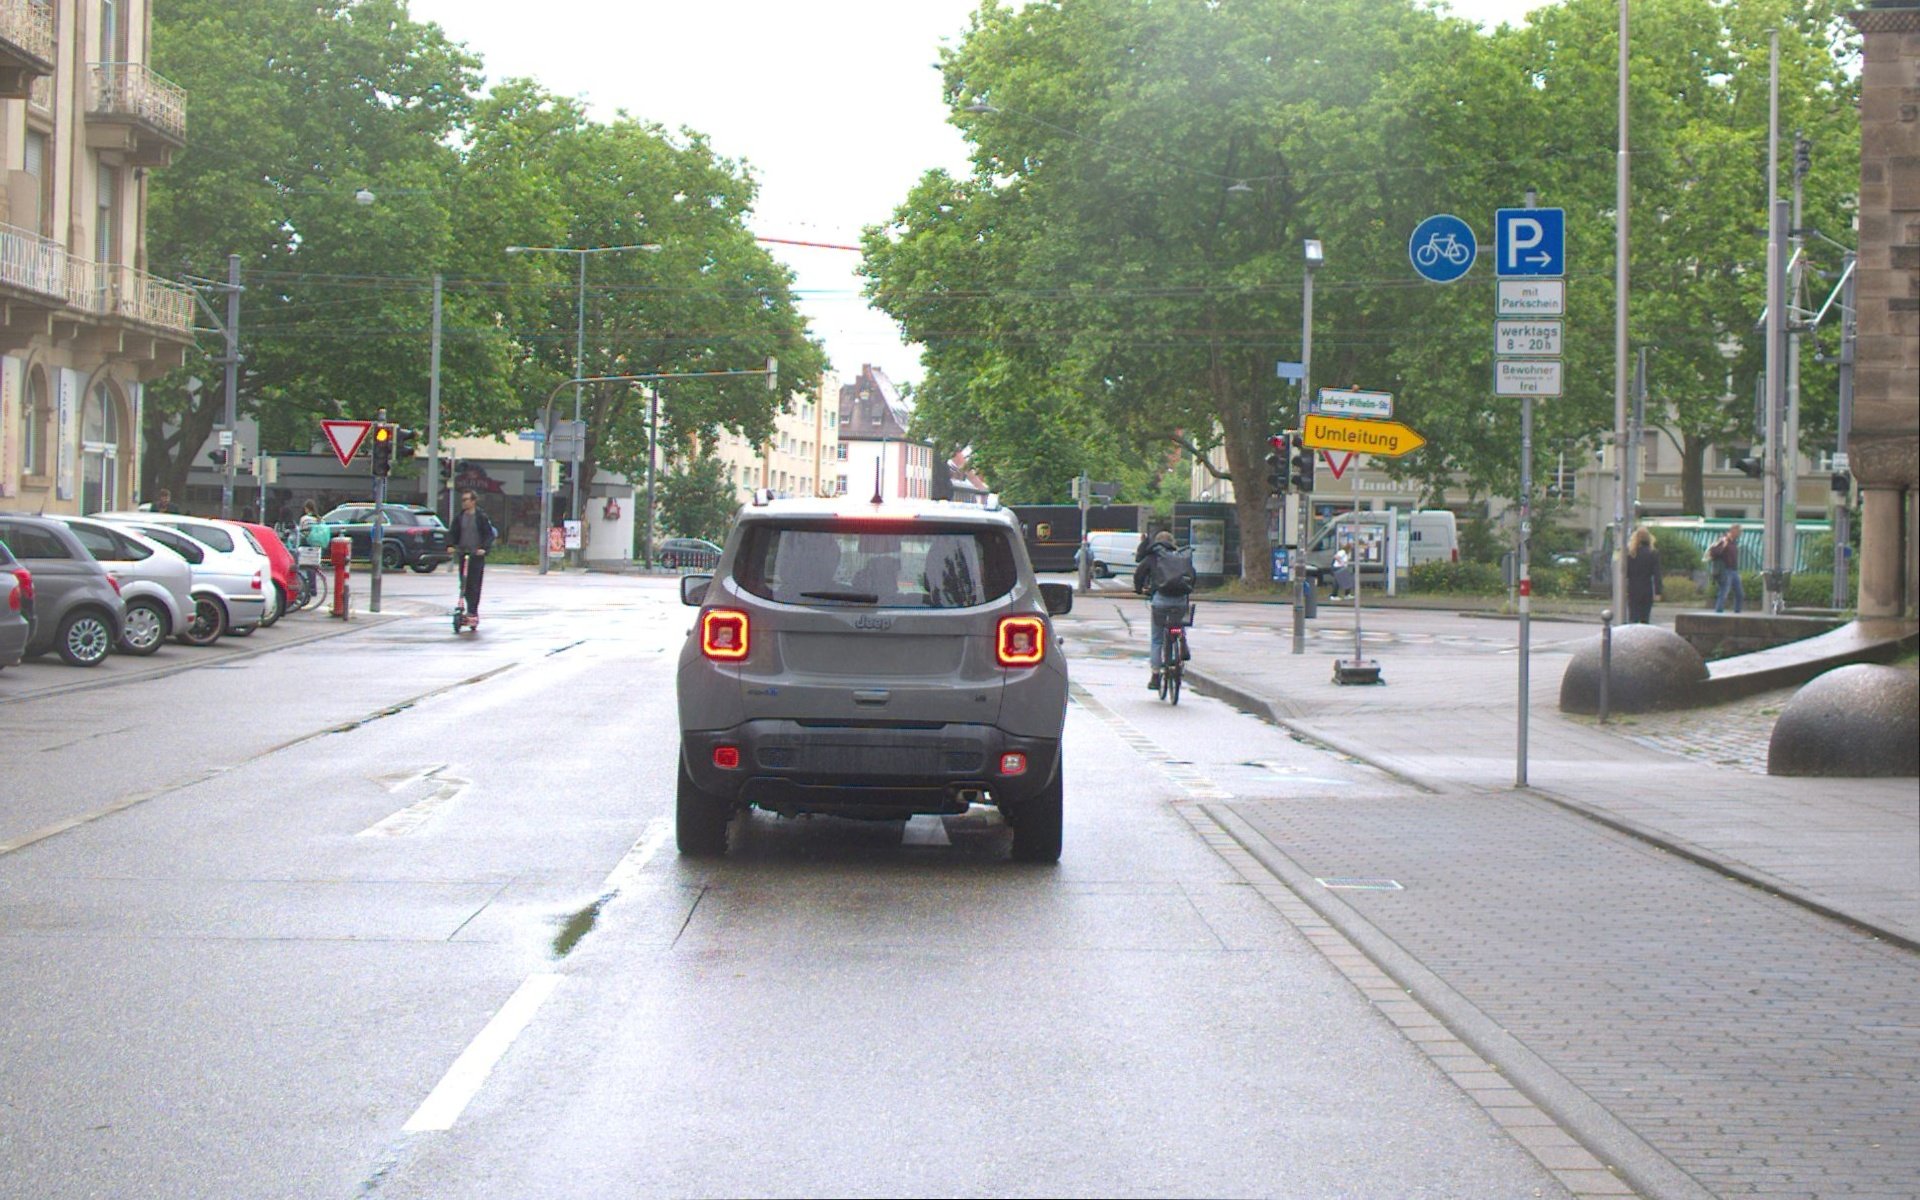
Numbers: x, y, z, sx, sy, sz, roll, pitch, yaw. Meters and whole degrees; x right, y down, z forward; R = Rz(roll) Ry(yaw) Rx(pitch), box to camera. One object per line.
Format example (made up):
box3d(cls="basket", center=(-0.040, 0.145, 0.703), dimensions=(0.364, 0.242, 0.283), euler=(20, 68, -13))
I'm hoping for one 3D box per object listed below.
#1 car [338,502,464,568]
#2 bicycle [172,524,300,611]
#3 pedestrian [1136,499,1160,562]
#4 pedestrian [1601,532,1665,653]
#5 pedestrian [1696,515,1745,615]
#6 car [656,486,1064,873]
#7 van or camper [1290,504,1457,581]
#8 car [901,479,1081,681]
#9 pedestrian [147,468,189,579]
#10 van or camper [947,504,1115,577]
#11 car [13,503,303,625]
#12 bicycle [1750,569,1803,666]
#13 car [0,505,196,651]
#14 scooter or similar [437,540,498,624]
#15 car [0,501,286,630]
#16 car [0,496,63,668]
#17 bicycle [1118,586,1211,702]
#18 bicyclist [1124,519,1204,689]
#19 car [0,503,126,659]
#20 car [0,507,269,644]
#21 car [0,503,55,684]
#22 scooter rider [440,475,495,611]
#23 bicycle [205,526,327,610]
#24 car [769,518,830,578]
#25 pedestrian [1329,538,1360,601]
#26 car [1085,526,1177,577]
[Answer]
box3d(cls="car", center=(-14.670, -1.710, 90.249), dimensions=(2.985, 1.700, 1.313), euler=(1, 1, 16))
box3d(cls="bicycle", center=(-10.871, -0.492, 51.644), dimensions=(1.810, 1.262, 0.498), euler=(1, 1, -1))
box3d(cls="pedestrian", center=(6.074, -2.243, 110.880), dimensions=(0.651, 2.007, 0.482), euler=(2, 1, 13))
box3d(cls="pedestrian", center=(9.232, -0.110, 47.164), dimensions=(0.783, 1.640, 0.655), euler=(1, 1, 7))
box3d(cls="pedestrian", center=(13.462, -0.623, 60.837), dimensions=(0.786, 1.753, 0.945), euler=(1, 1, 15))
box3d(cls="car", center=(-0.462, 0.308, 17.010), dimensions=(1.775, 1.681, 3.848), euler=(1, 1, -1))
box3d(cls="van or camper", center=(13.551, -1.893, 112.814), dimensions=(5.260, 2.307, 2.089), euler=(2, 1, 4))
box3d(cls="car", center=(0.316, -0.243, 36.913), dimensions=(1.770, 2.007, 4.000), euler=(2, 1, 0))
box3d(cls="pedestrian", center=(-14.628, -1.412, 63.491), dimensions=(0.567, 2.007, 0.655), euler=(2, 1, 0))
box3d(cls="van or camper", center=(2.969, -2.484, 144.061), dimensions=(6.536, 2.902, 2.491), euler=(2, 1, 27))
box3d(cls="car", center=(-10.869, -0.479, 46.651), dimensions=(3.393, 1.552, 1.705), euler=(1, 1, -39))
box3d(cls="bicycle", center=(10.164, 0.200, 42.827), dimensions=(0.329, 1.150, 2.075), euler=(1, 1, 5))
box3d(cls="car", center=(-10.308, -0.259, 37.575), dimensions=(3.393, 1.552, 1.705), euler=(1, 1, -39))
box3d(cls="scooter or similar", center=(-7.054, -0.266, 49.283), dimensions=(0.700, 1.161, 1.385), euler=(1, 1, -2))
box3d(cls="car", center=(-10.519, -0.435, 43.722), dimensions=(3.393, 1.552, 1.705), euler=(1, 1, -39))
box3d(cls="car", center=(-10.292, -0.205, 31.664), dimensions=(3.543, 1.593, 1.605), euler=(1, 1, -39))
box3d(cls="bicycle", center=(1.947, 0.404, 33.056), dimensions=(0.691, 1.018, 2.658), euler=(1, 1, -1))
box3d(cls="bicyclist", center=(1.952, 0.029, 33.038), dimensions=(0.687, 1.612, 0.884), euler=(1, 1, -1))
box3d(cls="car", center=(-10.349, -0.216, 34.573), dimensions=(3.393, 1.552, 1.652), euler=(1, 1, -39))
box3d(cls="car", center=(-10.166, -0.297, 40.852), dimensions=(3.393, 1.552, 1.705), euler=(1, 1, -39))
box3d(cls="car", center=(-10.037, -0.091, 28.661), dimensions=(4.535, 1.540, 1.688), euler=(0, 1, -43))
box3d(cls="scooter rider", center=(-7.042, -0.817, 49.162), dimensions=(0.710, 1.928, 0.504), euler=(1, 1, -2))
box3d(cls="bicycle", center=(-10.797, -0.500, 53.499), dimensions=(1.763, 1.262, 0.608), euler=(1, 1, -1))
box3d(cls="car", center=(-4.839, -1.573, 103.137), dimensions=(1.721, 1.733, 3.730), euler=(2, 1, -4))
box3d(cls="pedestrian", center=(9.835, -0.771, 87.885), dimensions=(0.614, 1.598, 0.493), euler=(2, 1, 25))
box3d(cls="car", center=(6.860, -1.940, 137.774), dimensions=(3.438, 2.007, 1.547), euler=(1, 0, 14))
